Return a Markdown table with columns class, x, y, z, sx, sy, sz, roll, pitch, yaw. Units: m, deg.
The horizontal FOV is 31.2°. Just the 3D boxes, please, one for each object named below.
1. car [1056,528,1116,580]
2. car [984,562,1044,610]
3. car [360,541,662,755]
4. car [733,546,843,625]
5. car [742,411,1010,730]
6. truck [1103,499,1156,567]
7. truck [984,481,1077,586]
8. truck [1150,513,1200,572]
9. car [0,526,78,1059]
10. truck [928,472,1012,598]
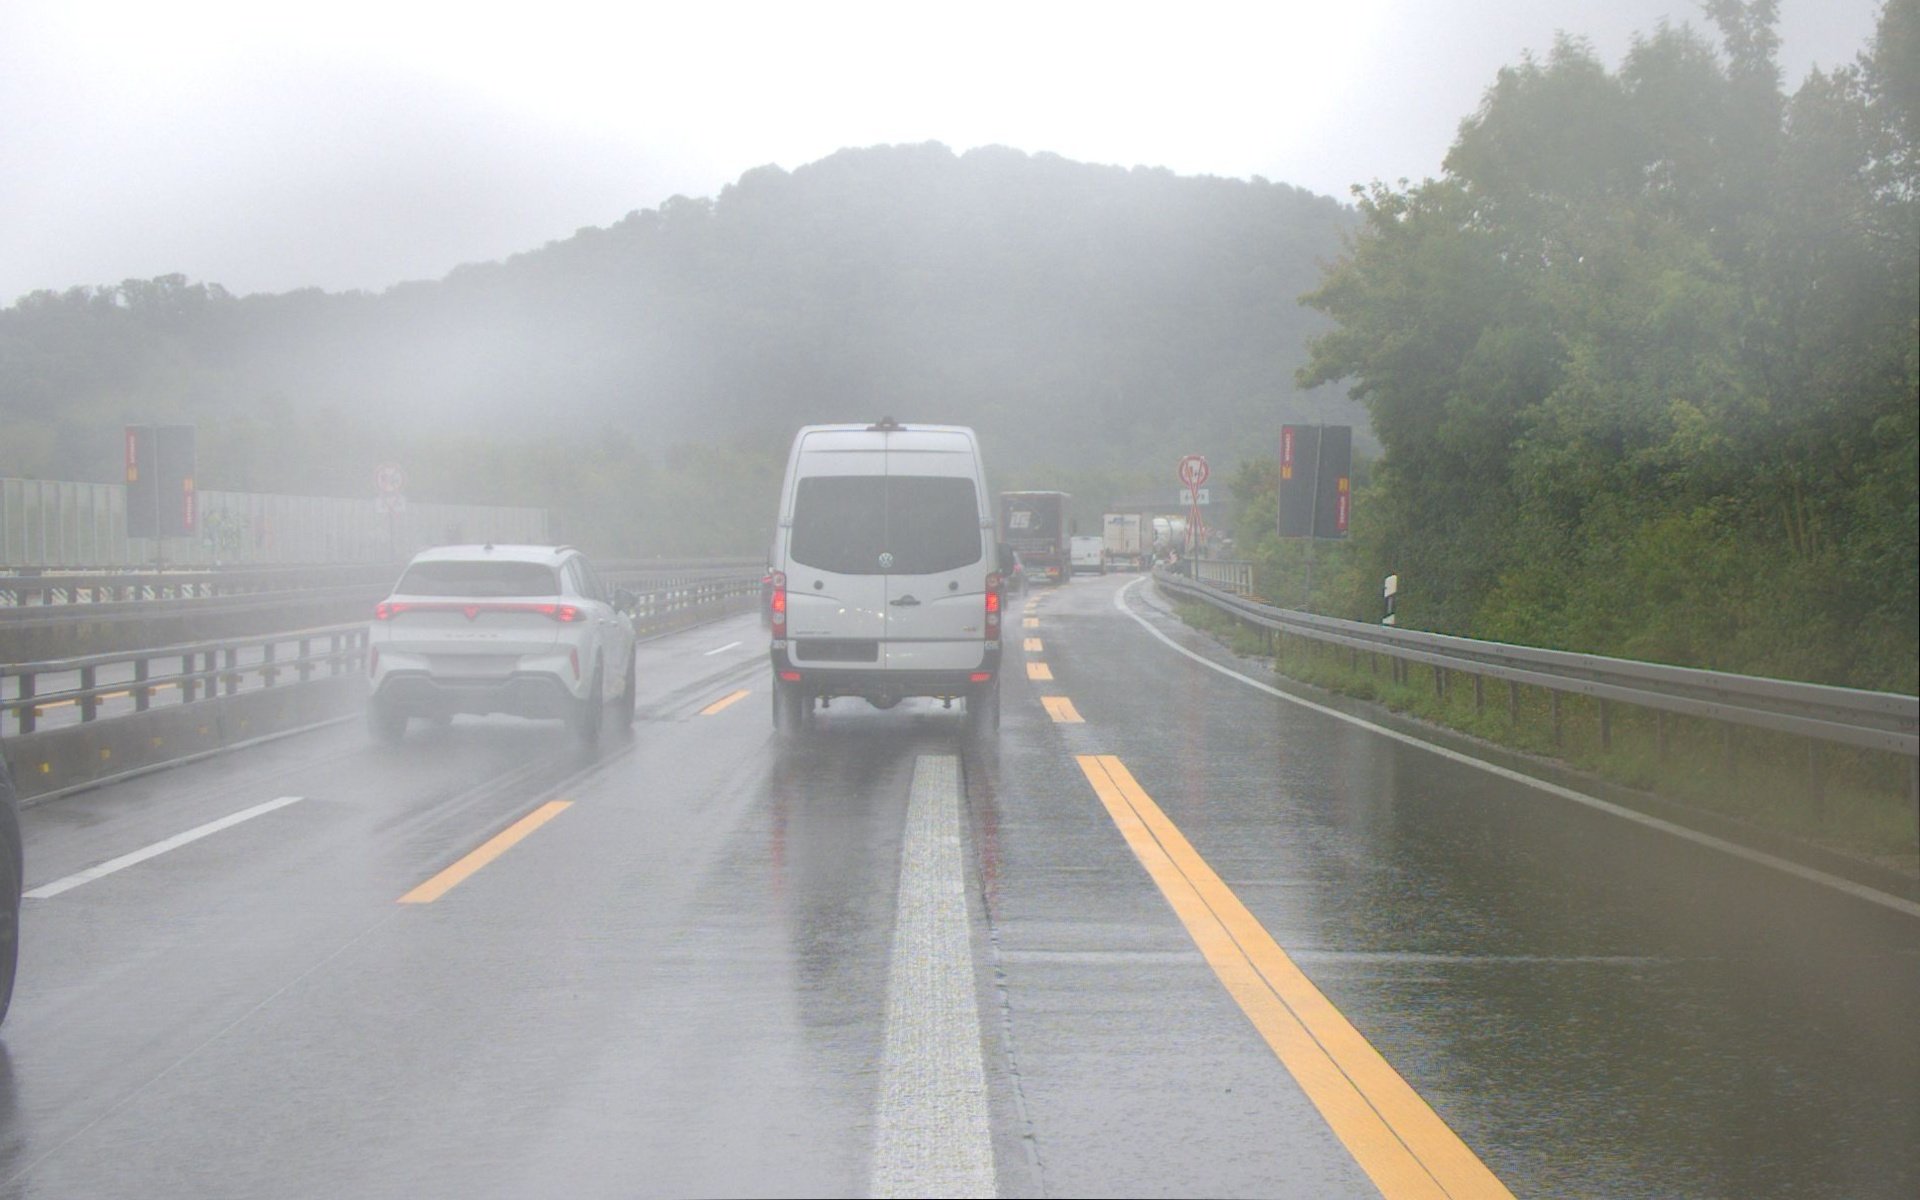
| class | x | y | z | sx | sy | sz | roll | pitch | yaw |
| --- | --- | --- | --- | --- | --- | --- | --- | --- | --- |
| car | 7.211 | -2.602 | 195.913 | 2.899 | 2.877 | 6.409 | 1 | 0 | 7 |
| car | 1.737 | -0.446 | 109.704 | 1.774 | 1.470 | 4.000 | 1 | 0 | 3 |
| car | -3.655 | 0.347 | 28.803 | 1.993 | 1.612 | 4.797 | 1 | 0 | -1 |
| car | -3.520 | -0.309 | 70.978 | 1.947 | 1.556 | 4.000 | 1 | 0 | 2 |
| car | -0.766 | -0.263 | 30.784 | 2.145 | 2.562 | 5.390 | 1 | 0 | -2 |
| truck | 11.443 | -4.470 | 231.529 | 3.037 | 4.391 | 9.622 | 1 | 0 | 5 |
| truck | 3.134 | -2.842 | 149.920 | 3.582 | 4.391 | 9.623 | 1 | 0 | 3 |
| truck | 16.523 | -4.394 | 264.086 | 2.899 | 4.391 | 9.620 | 1 | 0 | 9 |
| car | -3.804 | 0.565 | 8.807 | 1.993 | 1.579 | 4.414 | 1 | 0 | -1 |
| truck | 0.308 | -1.662 | 89.884 | 1.993 | 3.098 | 8.498 | 1 | 0 | 1 |
